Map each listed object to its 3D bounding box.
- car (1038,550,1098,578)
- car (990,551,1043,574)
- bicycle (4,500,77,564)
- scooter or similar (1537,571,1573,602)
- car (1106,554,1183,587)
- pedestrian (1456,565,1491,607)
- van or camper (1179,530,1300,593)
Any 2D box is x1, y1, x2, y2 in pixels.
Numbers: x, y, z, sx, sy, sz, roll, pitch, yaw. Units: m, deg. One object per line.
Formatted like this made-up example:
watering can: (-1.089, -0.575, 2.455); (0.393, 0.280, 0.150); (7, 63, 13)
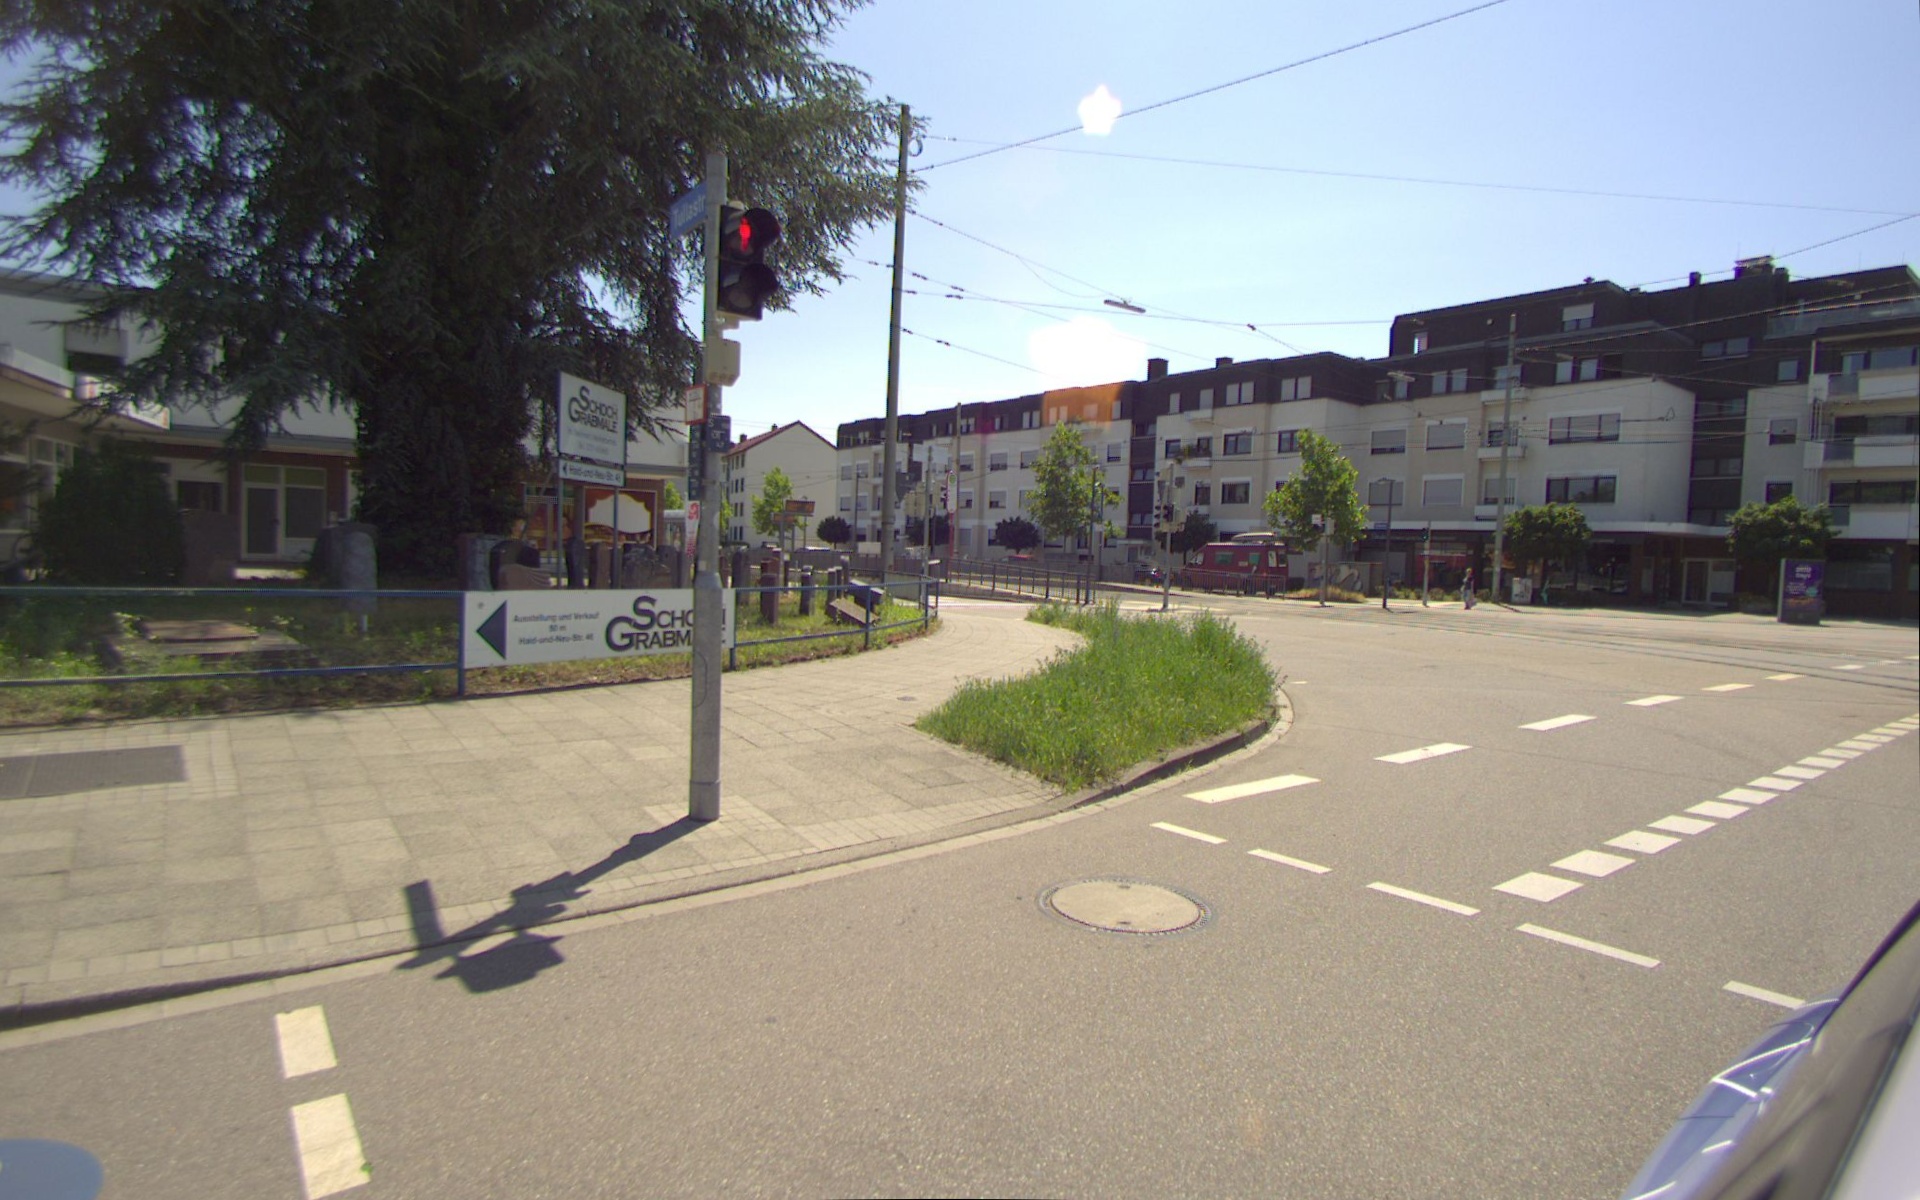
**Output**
car: (6.758, -2.291, 63.684); (1.623, 1.629, 3.650); (0, 3, -39)
car: (3.413, -2.291, 61.872); (1.425, 1.398, 3.362); (-1, 2, -37)
bicycle: (-18.450, -1.341, 20.341); (0.586, 1.207, 1.880); (0, 2, -26)
scooter or similar: (24.792, -0.566, 42.181); (1.243, 1.227, 0.391); (3, 2, 26)
car: (9.671, -1.578, 53.346); (1.648, 1.566, 3.804); (0, 3, -39)
pedestrian: (20.140, -0.565, 39.713); (0.809, 1.603, 0.831); (1, 2, -26)
van or camper: (13.343, -1.897, 48.643); (2.168, 2.799, 5.238); (1, 3, -39)
